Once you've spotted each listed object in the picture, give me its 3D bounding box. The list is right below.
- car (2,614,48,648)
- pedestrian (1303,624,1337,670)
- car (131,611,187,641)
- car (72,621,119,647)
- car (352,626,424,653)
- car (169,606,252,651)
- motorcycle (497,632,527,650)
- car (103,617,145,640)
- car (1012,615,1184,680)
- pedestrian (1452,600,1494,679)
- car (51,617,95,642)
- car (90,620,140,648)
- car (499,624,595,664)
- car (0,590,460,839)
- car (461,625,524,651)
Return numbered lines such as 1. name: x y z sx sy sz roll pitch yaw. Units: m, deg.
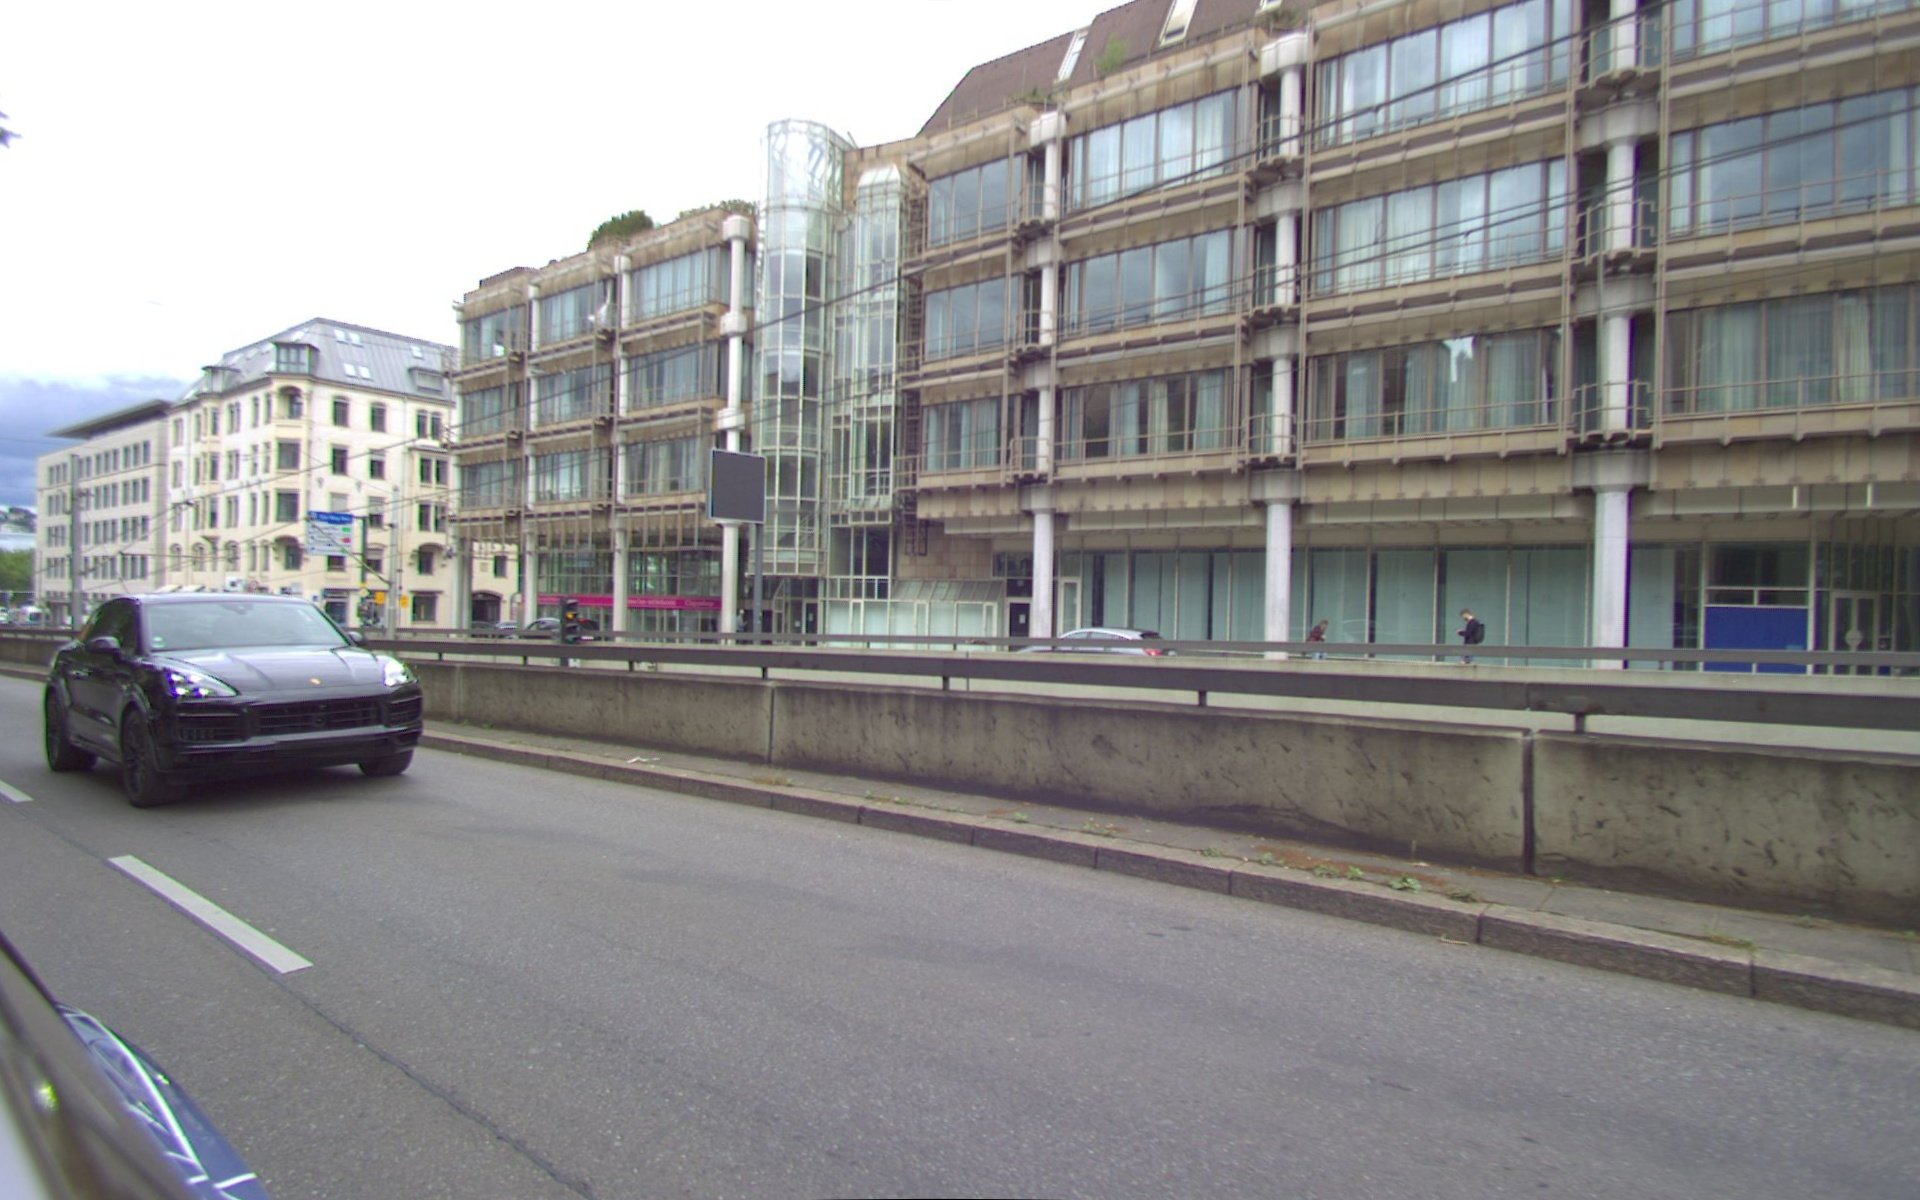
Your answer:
1. car: -88.965 2.891 96.301 5.462 3.083 2.342 -1 0 38
2. pedestrian: 10.533 1.362 29.614 0.739 1.275 0.723 -1 0 39
3. car: -56.183 1.808 70.958 4.783 2.029 1.975 -1 0 38
4. car: -70.158 2.745 82.090 4.783 2.029 1.975 -1 0 38
5. car: -36.025 2.458 63.815 1.646 1.674 3.607 -1 -2 35
6. car: -34.138 1.248 46.072 4.599 1.856 1.816 -1 3 38
7. motorcycle: -27.036 2.483 61.128 1.659 1.083 0.640 -1 0 18
8. car: -74.300 2.529 89.931 3.994 2.029 1.975 -1 -2 38
9. car: 3.409 1.143 25.424 4.039 1.512 1.647 -1 -2 40
10. pedestrian: 12.140 0.908 23.963 0.739 1.825 0.723 -1 0 39
11. car: -75.547 2.505 86.196 4.783 2.029 1.975 -1 0 38
12. car: -64.145 2.558 76.813 4.783 2.029 1.975 -1 0 38
13. car: -16.423 1.704 40.159 4.409 1.512 1.647 -1 -2 40
14. car: -6.947 0.826 9.358 5.344 1.688 2.063 -1 -1 38
15. car: -31.999 2.587 69.324 1.646 1.674 3.558 -1 -2 34
